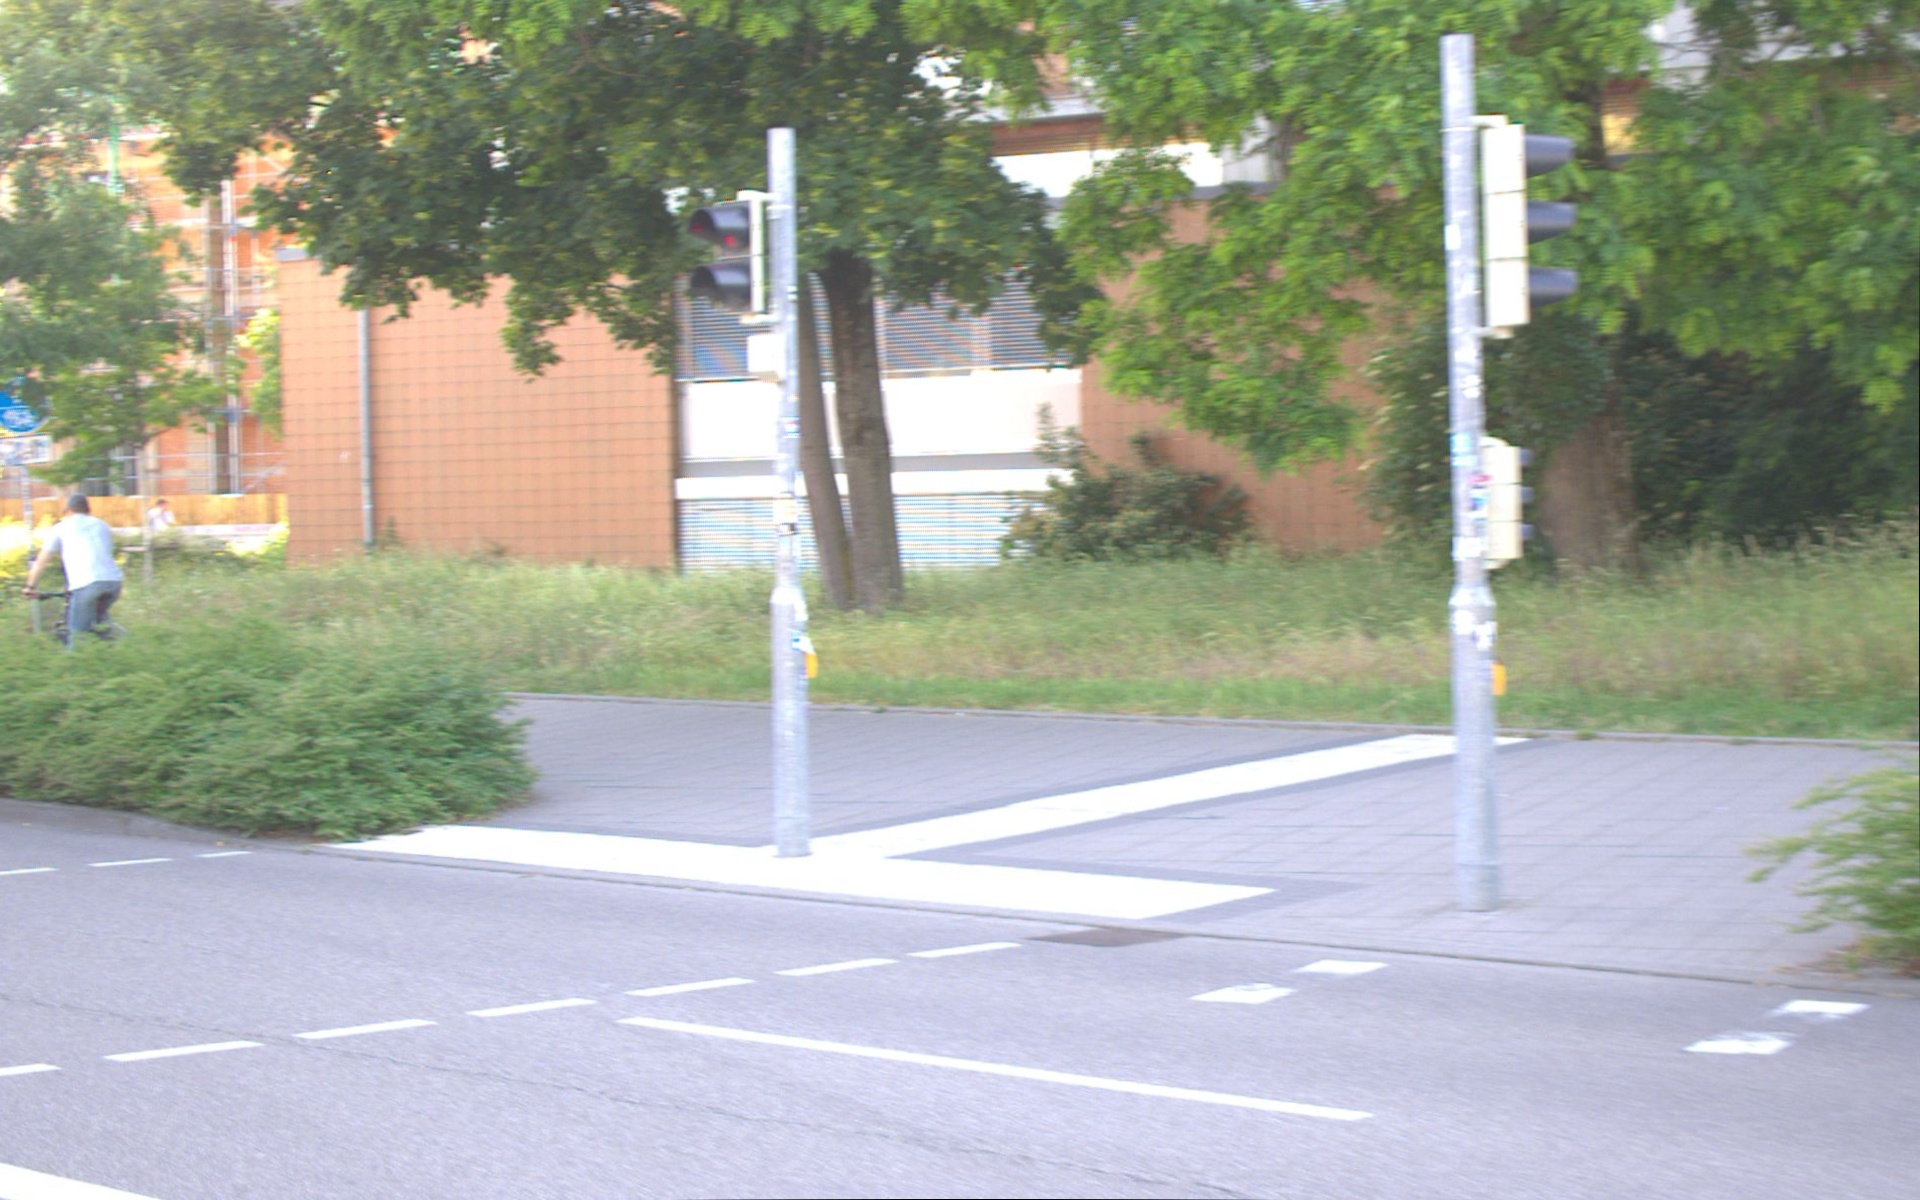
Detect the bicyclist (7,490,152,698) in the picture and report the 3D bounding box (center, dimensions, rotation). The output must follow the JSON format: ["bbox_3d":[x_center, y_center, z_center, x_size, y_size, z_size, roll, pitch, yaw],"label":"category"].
[{"bbox_3d":[-7.005,-0.063,27.341,0.720,1.611,0.977,-3,3,-41],"label":"bicyclist"}]

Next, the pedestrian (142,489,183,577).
[{"bbox_3d":[-16.083,-1.351,69.365,0.786,1.746,0.539,0,3,-11],"label":"pedestrian"}]

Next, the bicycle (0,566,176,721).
[{"bbox_3d":[-7.047,0.327,27.398,0.716,1.161,1.869,-3,3,-42],"label":"bicycle"}]
